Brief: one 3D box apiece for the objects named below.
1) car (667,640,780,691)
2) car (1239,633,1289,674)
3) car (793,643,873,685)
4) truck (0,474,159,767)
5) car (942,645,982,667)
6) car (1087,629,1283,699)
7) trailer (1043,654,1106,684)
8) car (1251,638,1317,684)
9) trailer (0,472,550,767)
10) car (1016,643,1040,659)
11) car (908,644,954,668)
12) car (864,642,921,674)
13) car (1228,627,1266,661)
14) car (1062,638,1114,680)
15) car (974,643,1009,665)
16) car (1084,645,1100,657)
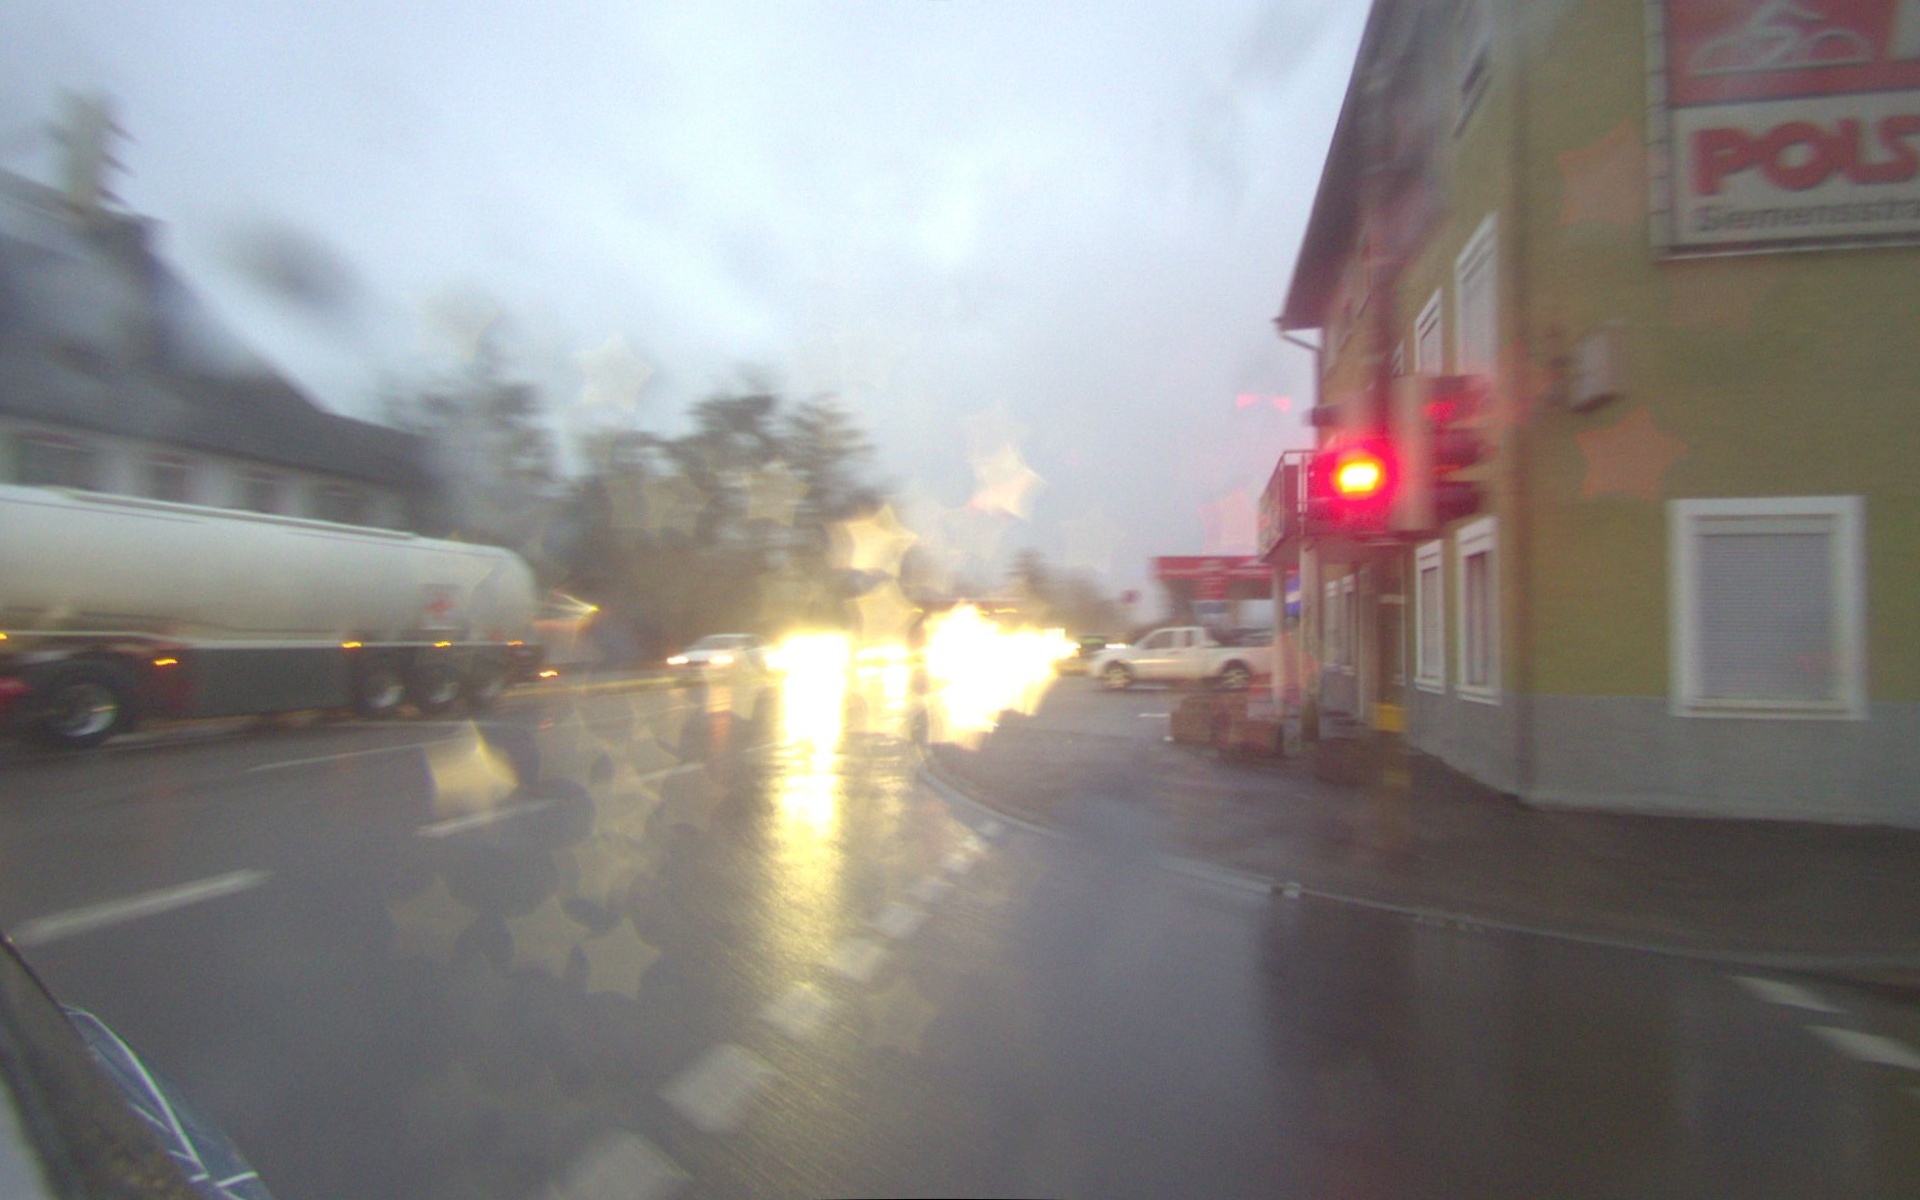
[{"bbox_3d":[-7.100,1.957,30.880,1.651,1.450,4.364,-1,-3,12],"label":"car"},{"bbox_3d":[14.906,2.583,49.803,1.979,1.918,3.984,0,-2,12],"label":"car"},{"bbox_3d":[-5.115,2.578,41.297,1.823,1.580,4.485,-1,-3,12],"label":"car"},{"bbox_3d":[-12.132,0.190,10.177,2.444,3.254,6.248,-1,-2,12],"label":"truck"},{"bbox_3d":[0.180,3.591,65.709,1.630,1.377,4.748,-1,-2,13],"label":"car"},{"bbox_3d":[6.234,1.736,28.232,5.158,1.804,1.990,0,-2,15],"label":"car"},{"bbox_3d":[4.877,2.839,42.357,1.980,1.047,6.078,1,-2,13],"label":"trailer"},{"bbox_3d":[12.285,2.296,38.632,1.979,1.637,3.984,0,-2,12],"label":"car"},{"bbox_3d":[-10.897,0.418,16.101,2.470,3.265,10.825,-1,-2,12],"label":"trailer"},{"bbox_3d":[6.370,4.779,94.664,1.994,1.504,3.989,-1,-3,8],"label":"car"},{"bbox_3d":[-1.593,3.156,57.429,1.642,1.346,4.254,-1,-3,13],"label":"car"},{"bbox_3d":[-3.300,2.859,50.326,1.690,1.483,4.253,-1,-3,13],"label":"car"},{"bbox_3d":[16.780,2.560,59.409,1.873,1.883,3.984,0,-2,12],"label":"car"},{"bbox_3d":[6.070,2.748,47.609,1.957,1.844,4.493,1,-2,13],"label":"car"},{"bbox_3d":[2.346,3.959,74.306,1.697,1.588,4.445,0,-3,13],"label":"car"},{"bbox_3d":[18.386,7.030,140.762,1.871,1.640,3.986,-1,-3,11],"label":"car"}]
